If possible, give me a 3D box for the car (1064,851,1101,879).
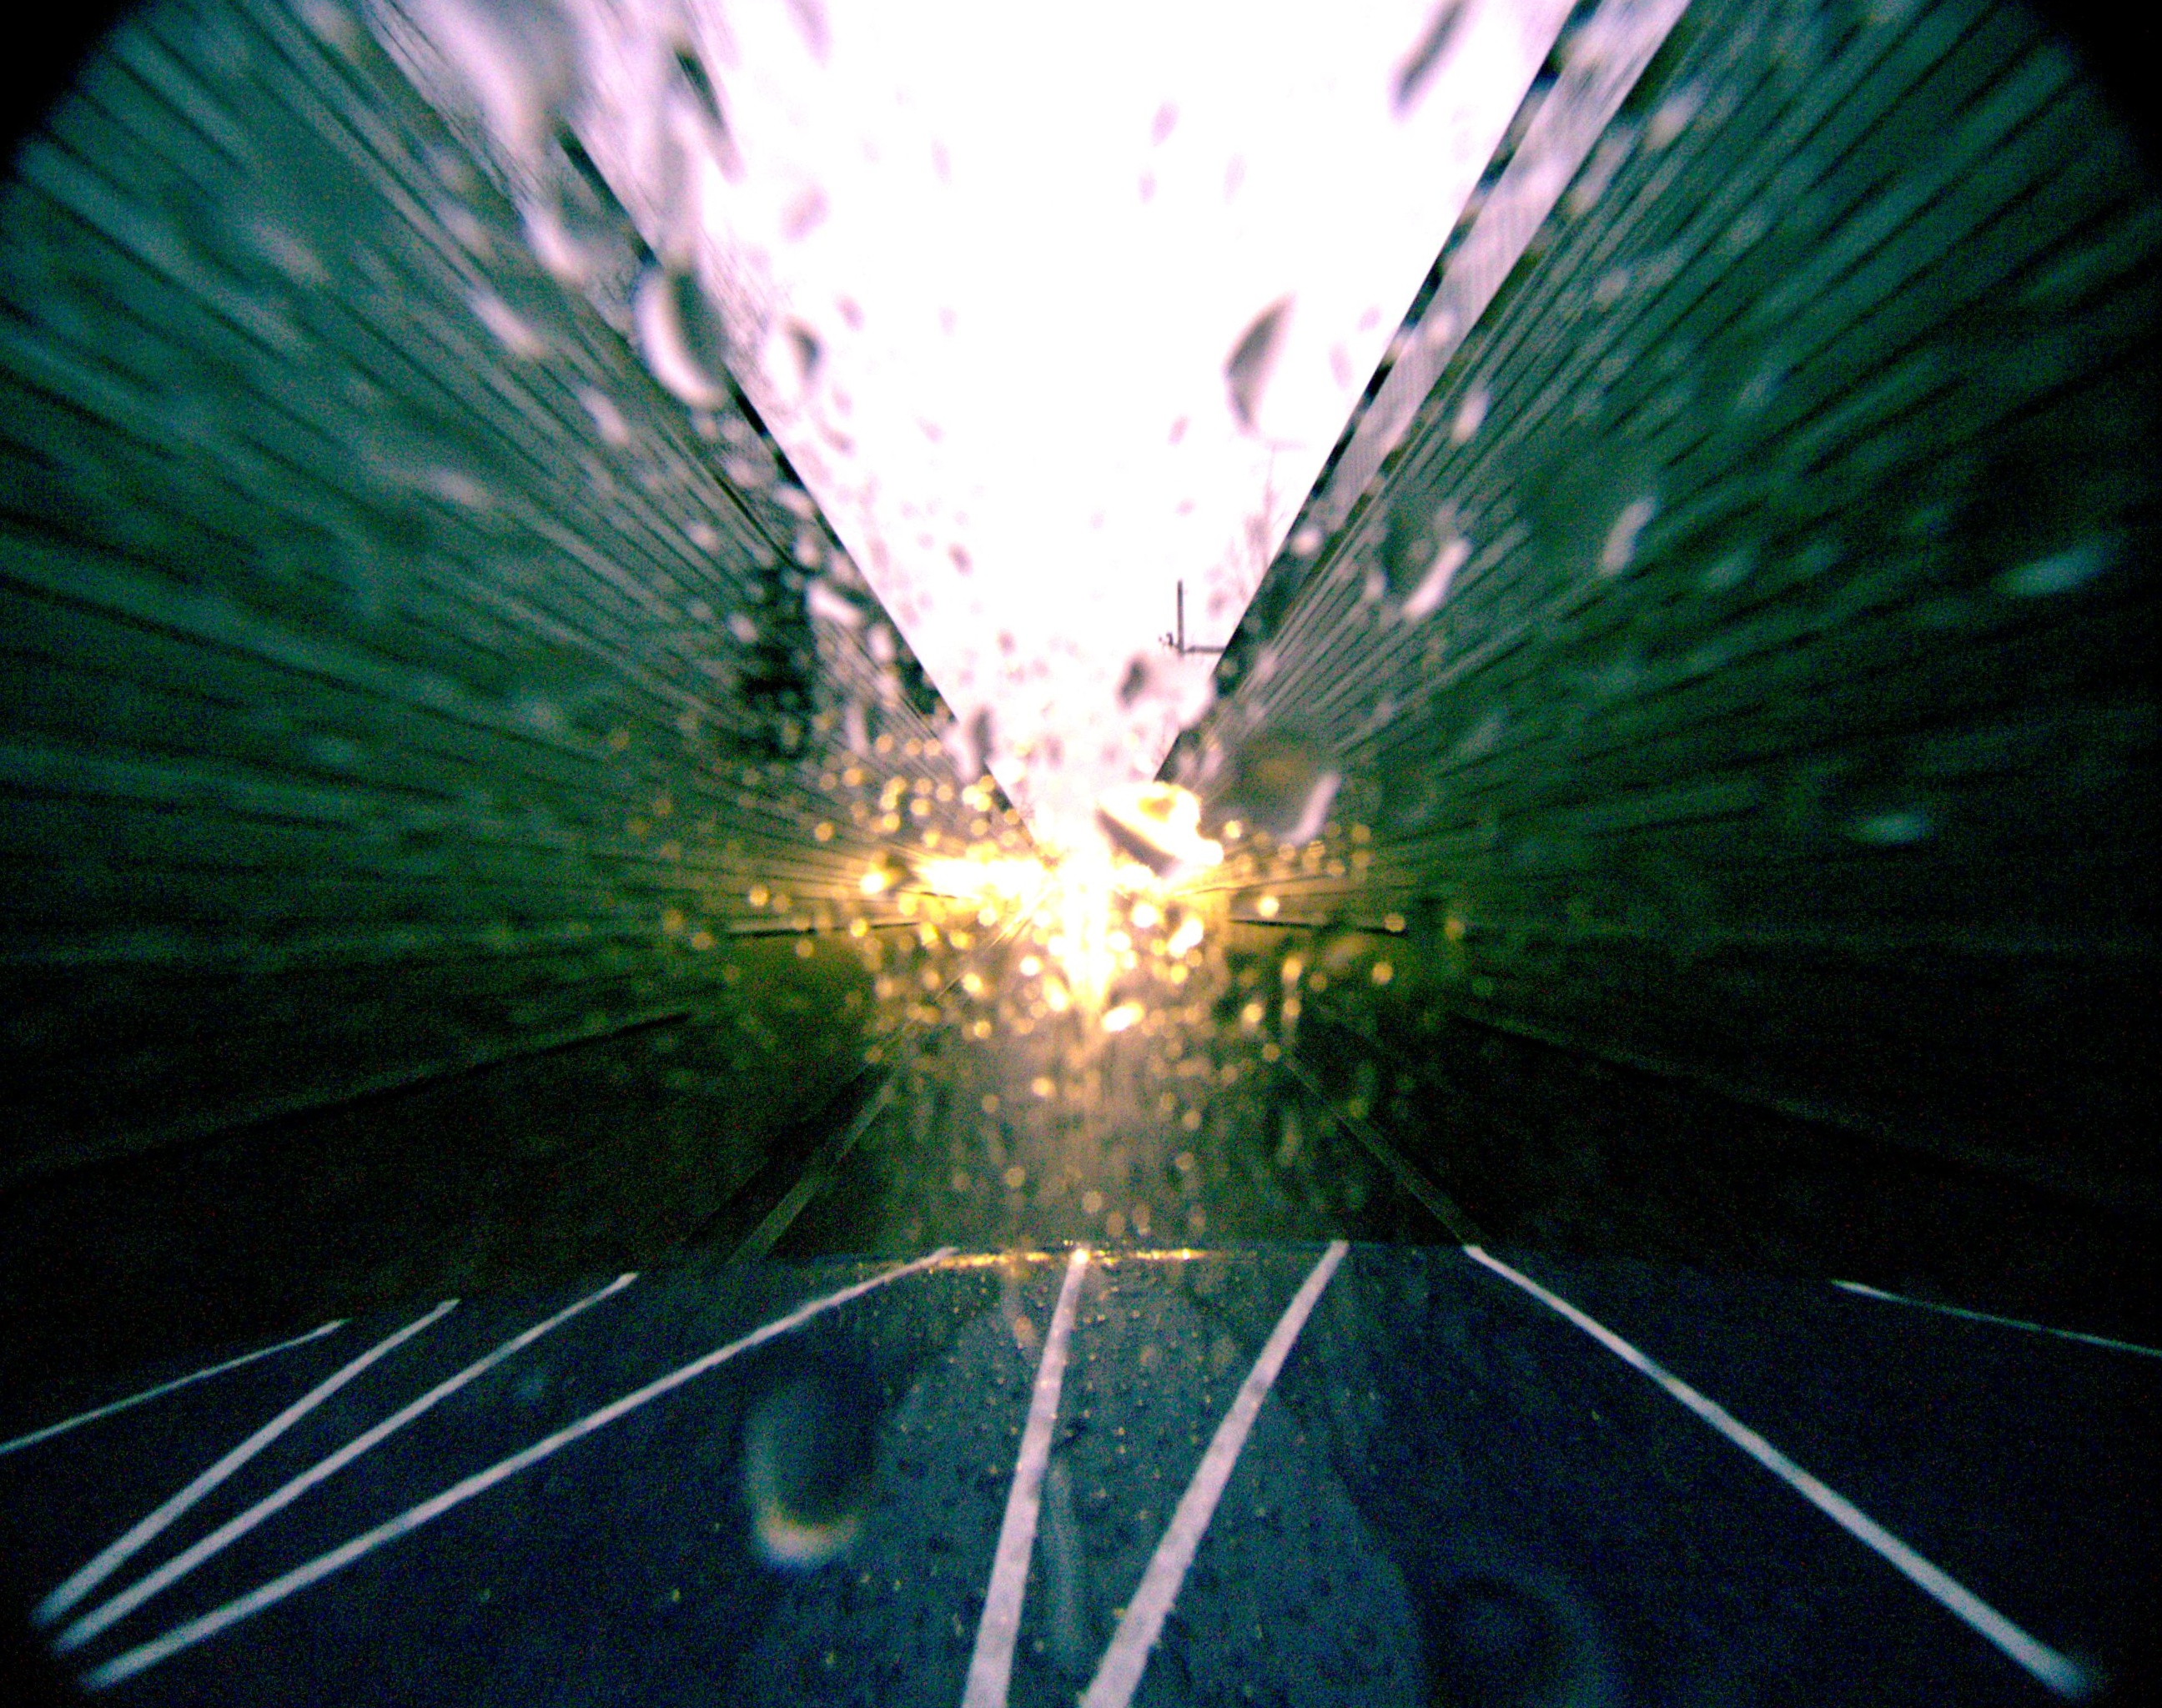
[{"bbox_3d":[0.138,0.691,46.245,2.160,1.488,4.010,-1,-3,1],"label":"car"}]
